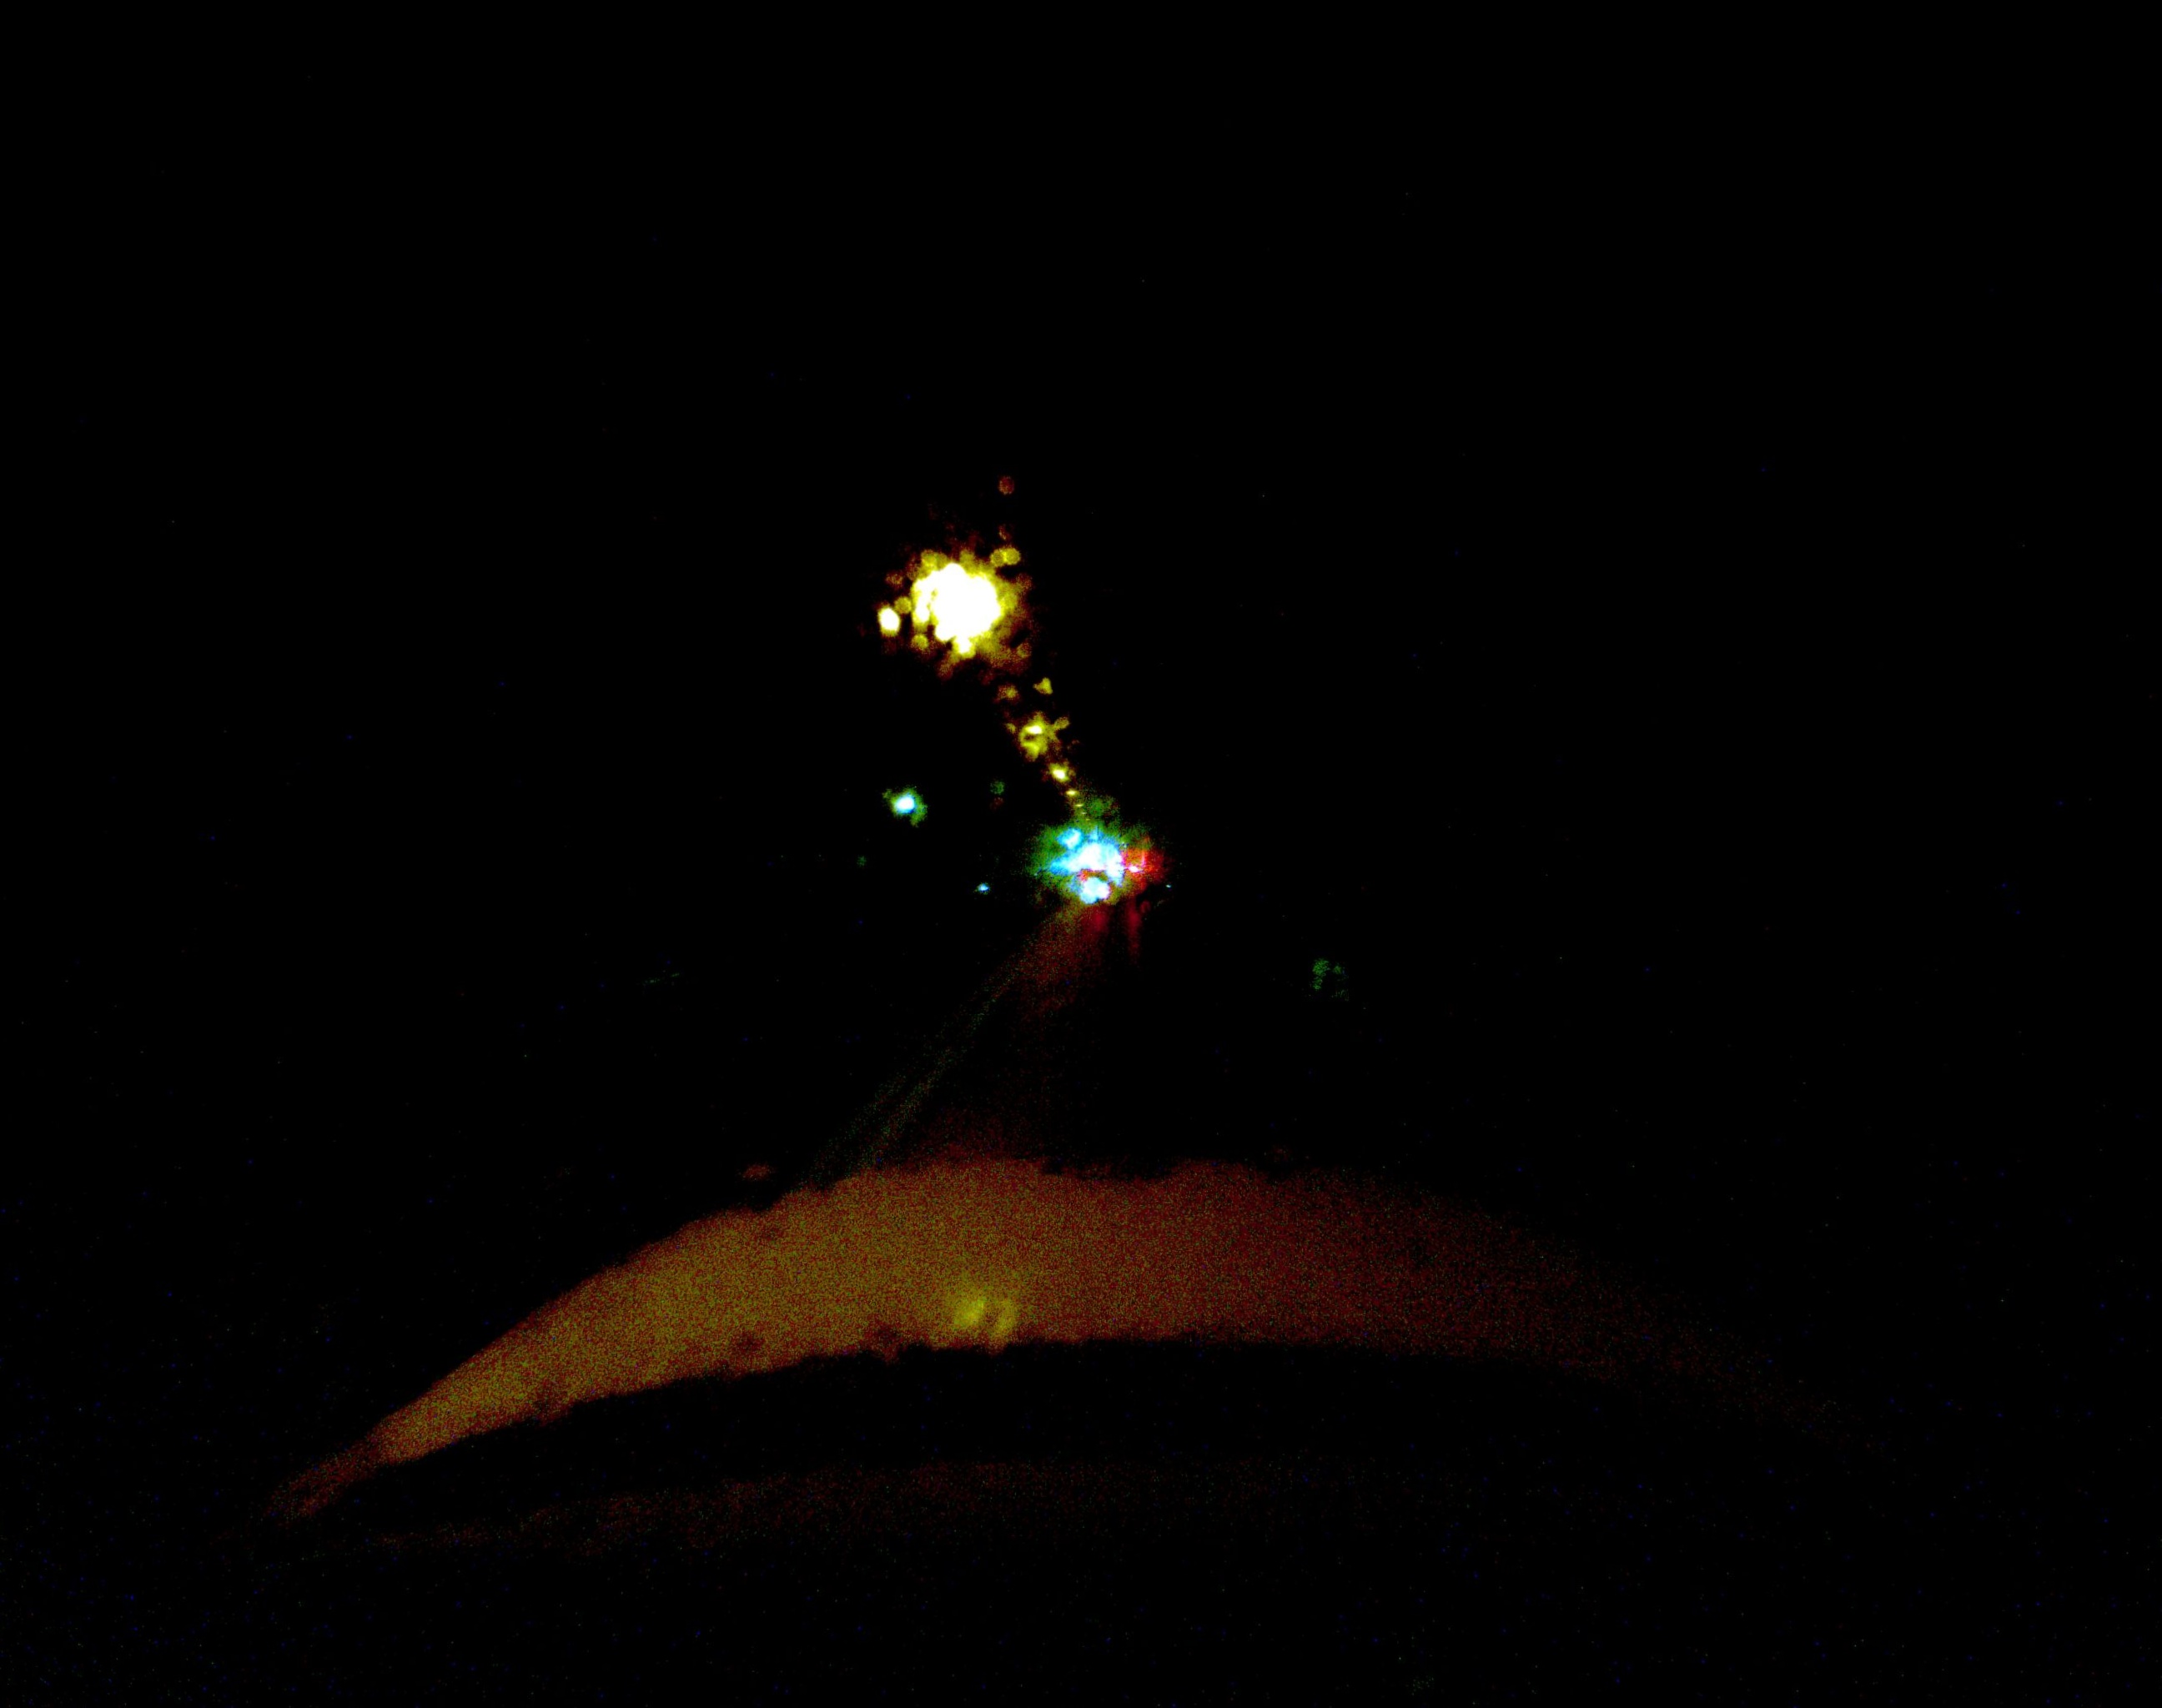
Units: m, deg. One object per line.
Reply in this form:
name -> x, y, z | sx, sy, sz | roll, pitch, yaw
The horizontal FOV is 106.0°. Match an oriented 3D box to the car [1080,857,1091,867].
car -> 0.755, 1.335, 137.095 | 1.629, 1.602, 4.148 | -2, 1, 2

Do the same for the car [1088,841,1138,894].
car -> 1.180, 0.430, 29.595 | 1.629, 1.757, 4.148 | -2, 1, 2
